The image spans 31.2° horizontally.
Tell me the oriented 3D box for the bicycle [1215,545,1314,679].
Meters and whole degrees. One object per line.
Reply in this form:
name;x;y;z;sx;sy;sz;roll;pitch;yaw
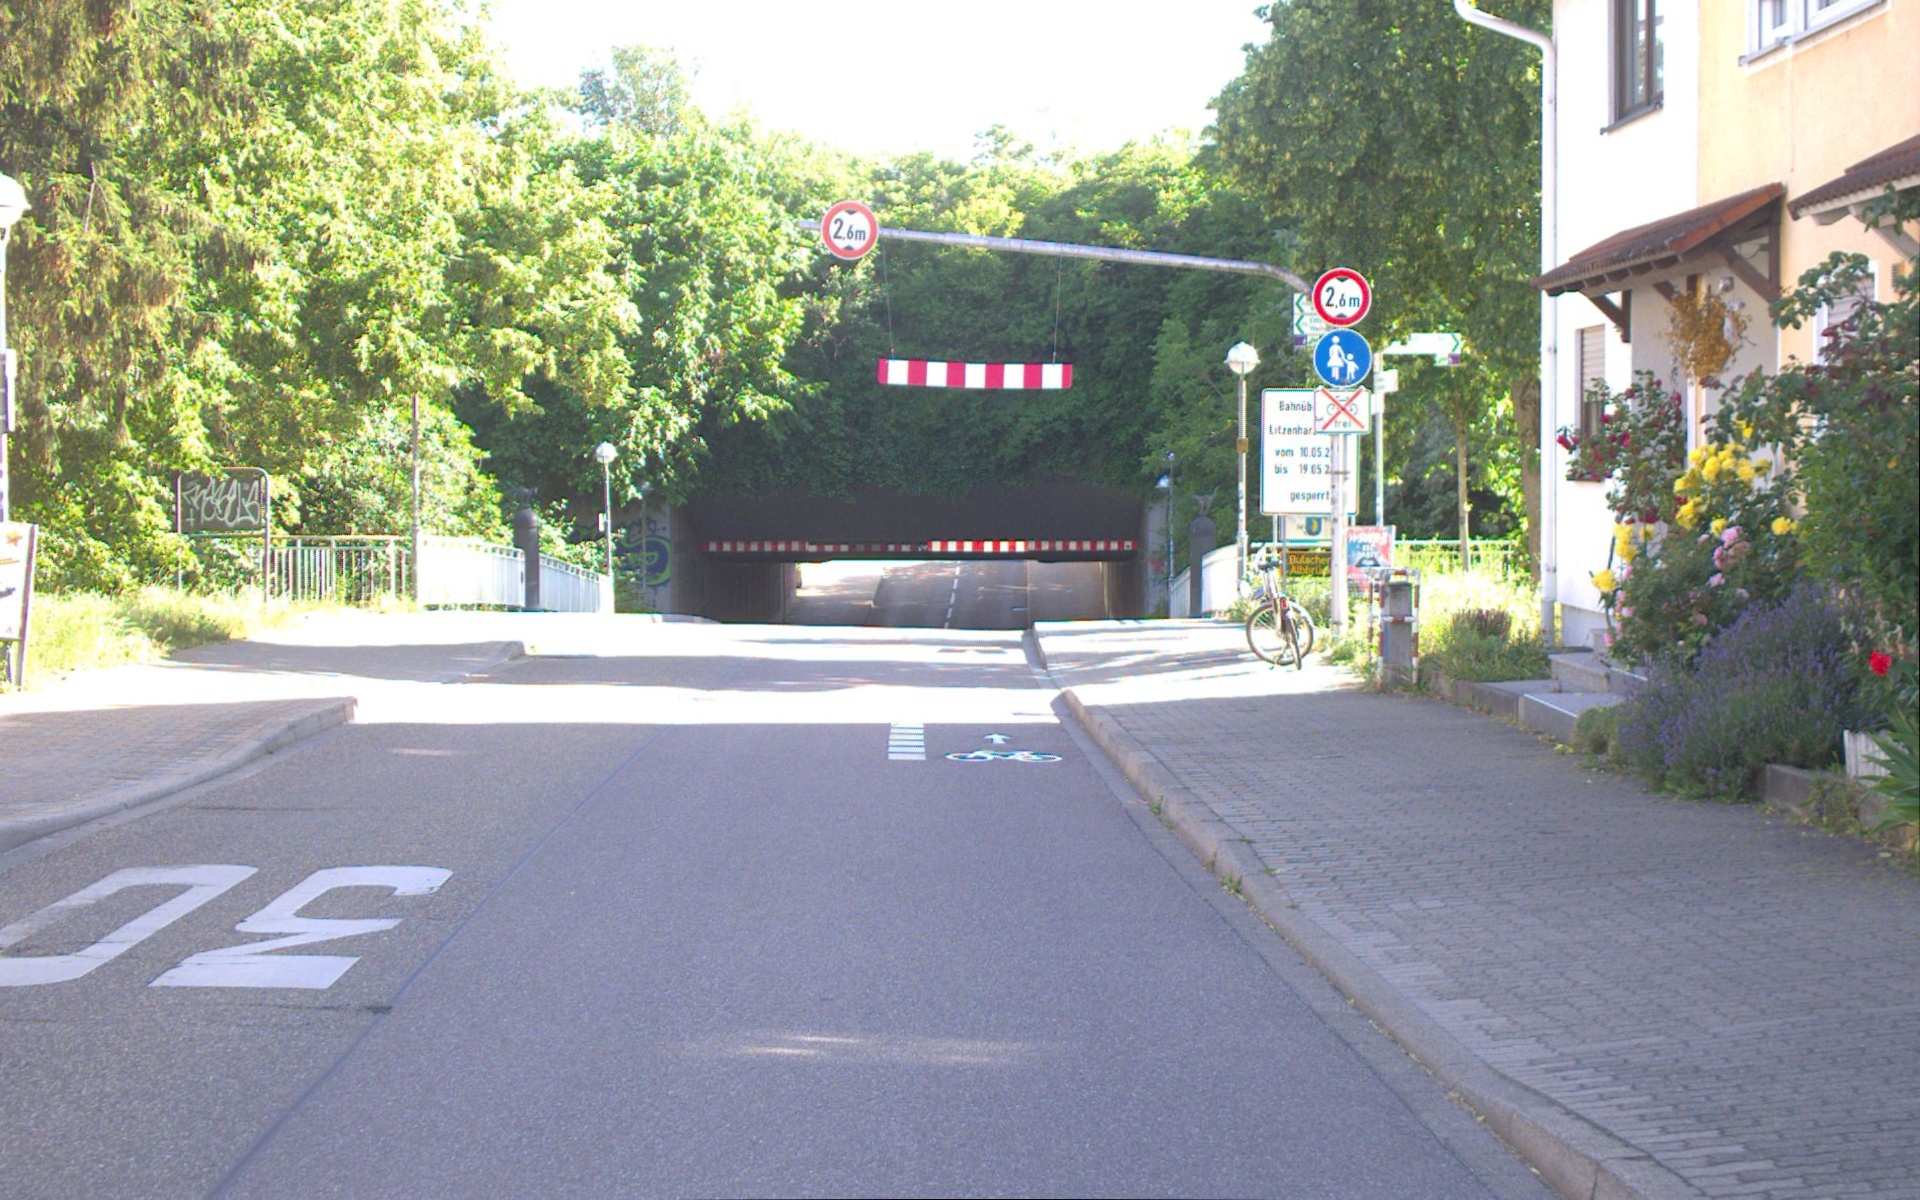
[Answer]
bicycle;2.835;0.099;32.156;0.688;1.153;1.540;-4;2;-1
